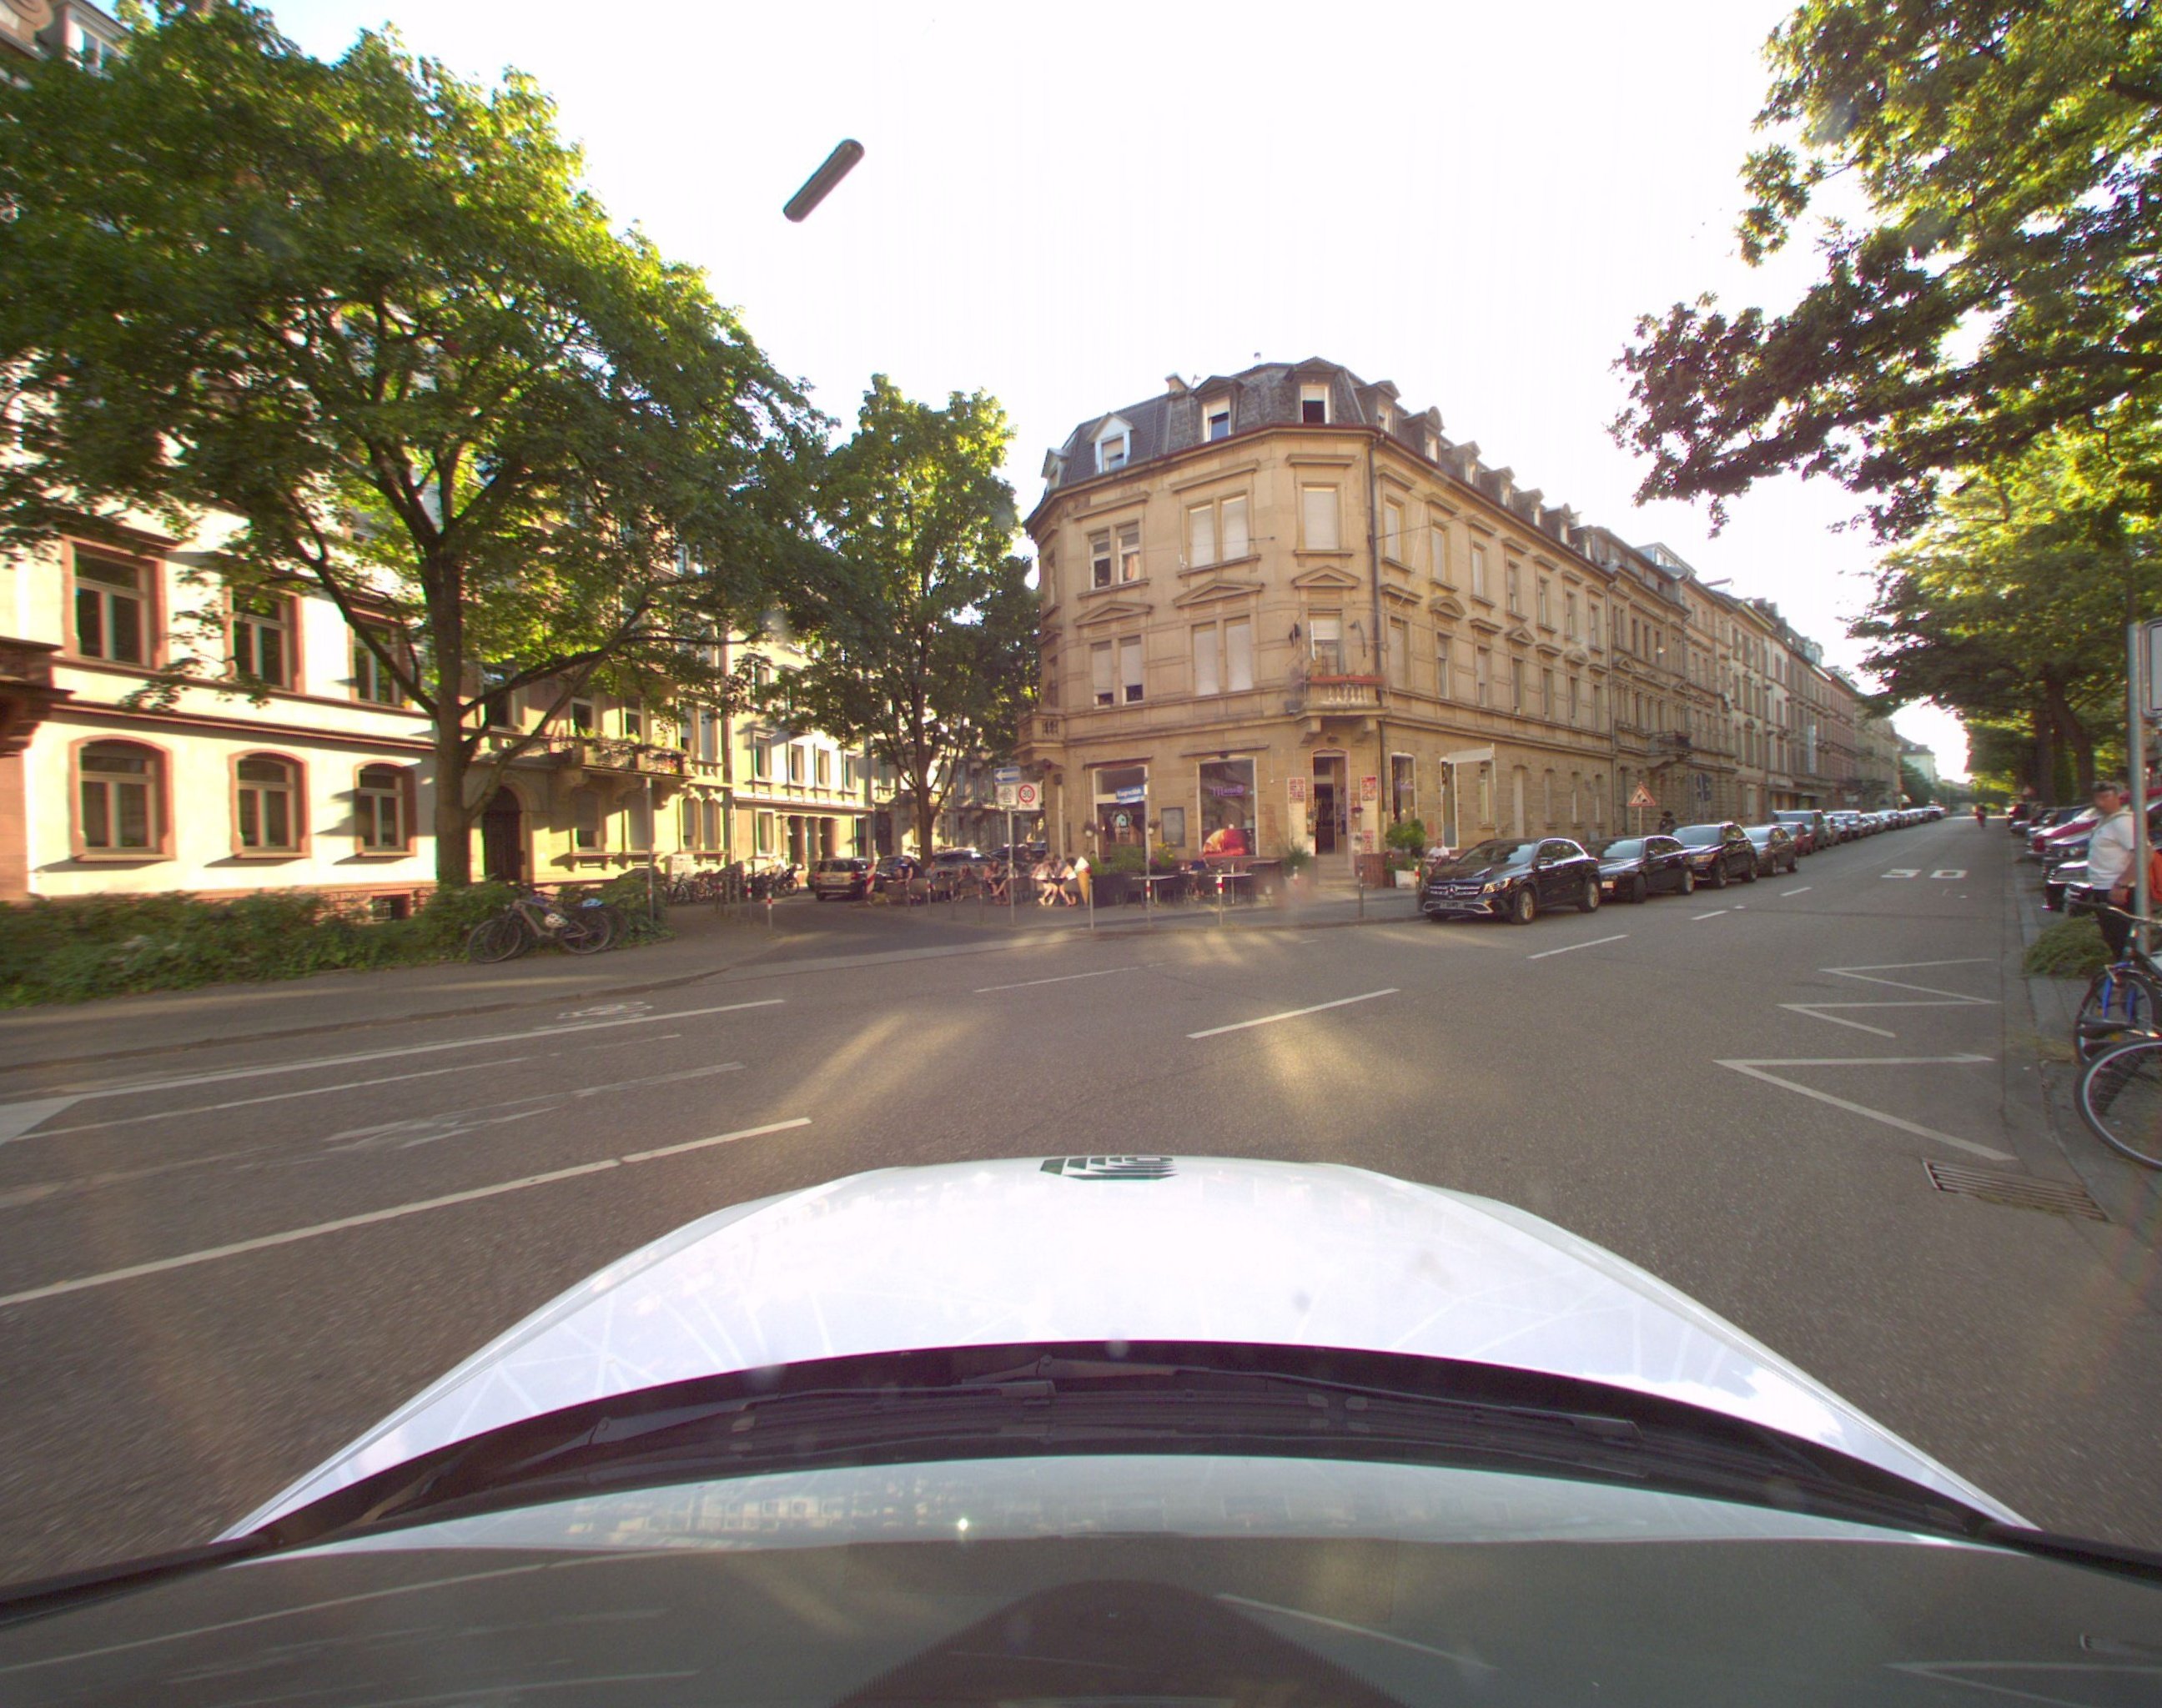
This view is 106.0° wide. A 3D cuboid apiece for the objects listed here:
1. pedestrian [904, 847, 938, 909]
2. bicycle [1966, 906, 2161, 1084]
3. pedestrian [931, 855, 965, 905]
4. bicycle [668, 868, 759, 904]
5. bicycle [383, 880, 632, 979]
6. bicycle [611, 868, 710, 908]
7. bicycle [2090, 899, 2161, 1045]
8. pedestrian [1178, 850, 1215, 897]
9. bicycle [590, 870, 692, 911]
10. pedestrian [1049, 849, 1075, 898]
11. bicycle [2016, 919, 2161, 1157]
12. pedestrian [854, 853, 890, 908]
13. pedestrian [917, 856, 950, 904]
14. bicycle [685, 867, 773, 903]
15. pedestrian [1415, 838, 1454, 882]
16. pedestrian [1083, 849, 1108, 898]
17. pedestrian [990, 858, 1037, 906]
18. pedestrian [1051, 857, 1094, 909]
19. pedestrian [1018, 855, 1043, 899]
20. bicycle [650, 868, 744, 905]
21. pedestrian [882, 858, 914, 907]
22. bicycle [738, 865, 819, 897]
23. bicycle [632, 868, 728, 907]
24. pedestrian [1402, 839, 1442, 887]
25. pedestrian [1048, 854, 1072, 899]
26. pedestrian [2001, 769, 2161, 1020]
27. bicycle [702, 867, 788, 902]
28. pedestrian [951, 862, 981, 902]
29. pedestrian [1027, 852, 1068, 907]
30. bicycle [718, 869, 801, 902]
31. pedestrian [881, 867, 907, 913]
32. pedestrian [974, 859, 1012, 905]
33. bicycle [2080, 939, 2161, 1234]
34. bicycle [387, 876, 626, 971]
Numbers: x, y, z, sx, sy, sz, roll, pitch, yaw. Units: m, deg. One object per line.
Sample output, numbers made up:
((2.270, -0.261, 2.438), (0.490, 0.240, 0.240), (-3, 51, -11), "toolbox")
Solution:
((-4.746, 0.702, 24.171), (0.769, 1.770, 0.567), (-3, -1, -29), "pedestrian")
((6.261, 0.831, 5.017), (1.409, 0.927, 0.353), (-3, -2, -11), "bicycle")
((-4.018, 0.782, 24.658), (0.769, 1.441, 0.662), (-3, -1, -29), "pedestrian")
((-13.092, 1.135, 29.020), (3.104, 1.180, 0.755), (-2, 0, 14), "bicycle")
((-8.505, 1.071, 12.264), (2.972, 1.196, 0.541), (-2, 0, -37), "bicycle")
((-13.756, 1.121, 26.628), (3.104, 1.180, 0.755), (-2, 0, 14), "bicycle")
((7.590, 0.722, 4.847), (0.356, 0.927, 1.913), (-1, -3, -41), "bicycle")
((3.139, 0.522, 22.130), (0.718, 1.213, 0.761), (-2, 0, 30), "pedestrian")
((-13.956, 1.147, 25.803), (3.104, 1.180, 0.755), (-2, 0, 14), "bicycle")
((-0.568, 0.586, 24.376), (0.562, 1.431, 0.485), (-2, 1, 38), "pedestrian")
((5.467, 0.768, 3.422), (1.912, 0.988, 0.499), (-5, -3, 27), "bicycle")
((-6.569, 0.826, 25.582), (0.771, 1.669, 0.660), (-3, -1, -43), "pedestrian")
((-4.621, 0.809, 25.484), (0.769, 1.441, 0.662), (-3, -1, -29), "pedestrian")
((-12.895, 1.143, 29.811), (3.104, 1.180, 0.755), (-2, 0, 14), "bicycle")
((10.035, 0.176, 23.125), (0.761, 1.213, 0.719), (-2, 0, -43), "pedestrian")
((0.409, 0.558, 23.150), (0.476, 1.367, 0.436), (-2, 1, 41), "pedestrian")
((-1.851, 0.749, 22.310), (0.753, 1.248, 1.012), (-3, 1, -44), "pedestrian")
((-0.219, 0.732, 21.005), (0.736, 1.289, 0.747), (-2, 0, 39), "pedestrian")
((-1.498, 0.684, 24.256), (0.513, 1.248, 0.476), (-3, 1, -43), "pedestrian")
((-13.299, 1.126, 28.211), (3.104, 1.180, 0.755), (-2, 0, 14), "bicycle")
((-5.628, 0.871, 25.052), (0.769, 1.412, 0.662), (-3, -1, -27), "pedestrian")
((-12.073, 1.083, 32.537), (3.104, 1.180, 0.755), (-2, 0, 14), "bicycle")
((-13.516, 1.121, 27.447), (3.104, 1.180, 0.755), (-2, 0, 14), "bicycle")
((9.290, 0.242, 22.216), (0.761, 1.259, 0.719), (-2, 0, -43), "pedestrian")
((-0.608, 0.650, 23.689), (0.436, 1.248, 0.476), (-3, 1, -43), "pedestrian")
((8.349, 0.302, 6.617), (0.847, 1.898, 1.105), (-2, 0, -40), "pedestrian")
((-12.625, 1.151, 30.617), (3.104, 1.180, 0.755), (-2, 0, 14), "bicycle")
((-3.598, 0.873, 25.443), (0.680, 1.215, 0.661), (-3, -1, -30), "pedestrian")
((-0.883, 0.662, 21.525), (0.747, 1.411, 0.732), (-2, 0, 37), "pedestrian")
((-12.412, 1.217, 31.440), (3.104, 1.180, 0.755), (-2, 0, 14), "bicycle")
((-5.558, 1.070, 24.241), (0.574, 1.320, 0.500), (-3, 1, -30), "pedestrian")
((-2.473, 0.786, 22.958), (0.753, 1.248, 0.698), (-3, 1, -43), "pedestrian")
((4.860, 0.802, 2.755), (1.917, 1.052, 0.504), (-4, -2, 12), "bicycle")
((-8.860, 1.022, 12.735), (2.972, 1.196, 0.541), (-2, 0, -37), "bicycle")
